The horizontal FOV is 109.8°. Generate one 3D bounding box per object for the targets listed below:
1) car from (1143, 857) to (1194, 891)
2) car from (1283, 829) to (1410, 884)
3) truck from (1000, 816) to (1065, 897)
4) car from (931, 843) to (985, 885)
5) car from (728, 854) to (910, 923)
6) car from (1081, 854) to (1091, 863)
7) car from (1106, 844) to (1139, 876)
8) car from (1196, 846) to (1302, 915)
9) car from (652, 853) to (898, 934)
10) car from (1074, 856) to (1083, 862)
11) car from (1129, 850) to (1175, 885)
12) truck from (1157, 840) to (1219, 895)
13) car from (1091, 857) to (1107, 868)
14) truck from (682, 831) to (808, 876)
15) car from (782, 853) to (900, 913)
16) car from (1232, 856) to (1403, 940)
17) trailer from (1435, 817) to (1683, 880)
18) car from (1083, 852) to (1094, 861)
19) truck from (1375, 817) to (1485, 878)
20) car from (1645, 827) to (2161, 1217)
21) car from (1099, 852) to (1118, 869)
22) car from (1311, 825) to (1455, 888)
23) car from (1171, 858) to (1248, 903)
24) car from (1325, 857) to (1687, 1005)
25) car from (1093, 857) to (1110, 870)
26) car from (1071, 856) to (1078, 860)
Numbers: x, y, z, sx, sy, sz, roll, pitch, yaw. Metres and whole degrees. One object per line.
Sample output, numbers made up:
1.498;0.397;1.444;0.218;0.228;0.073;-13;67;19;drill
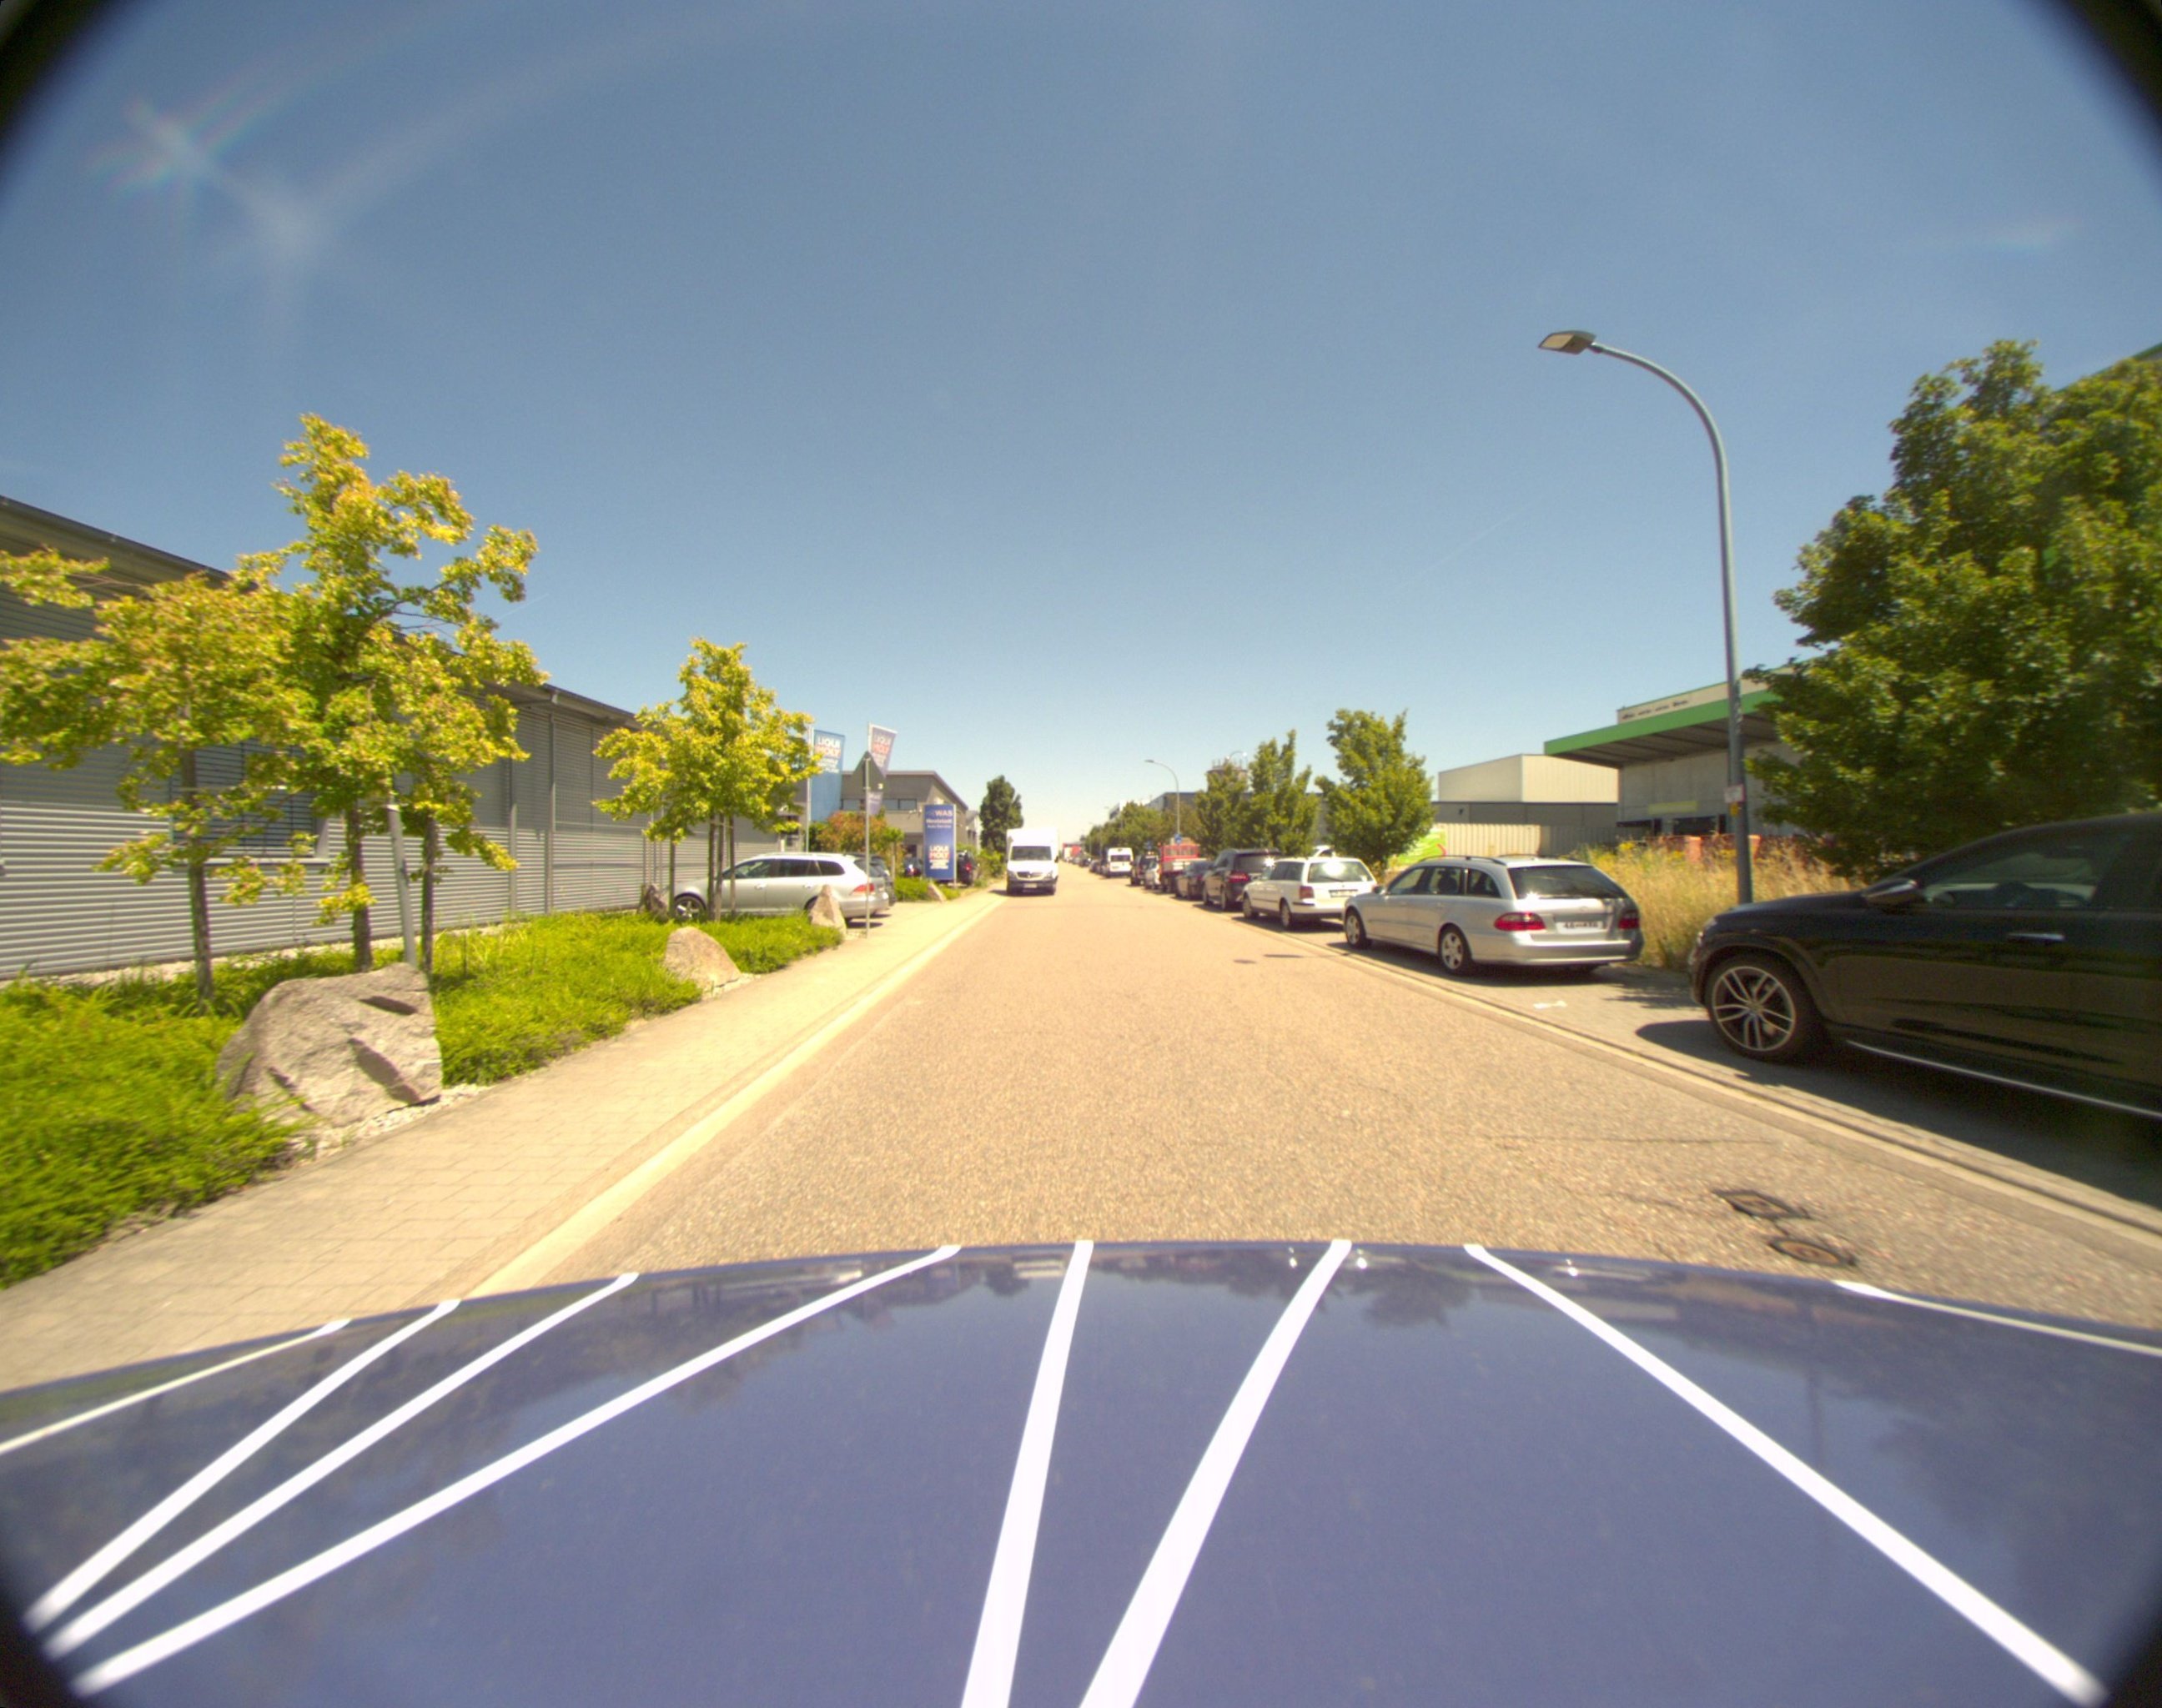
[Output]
4.302;0.944;37.811;1.857;1.542;3.765;-2;0;-4;car
14.269;0.106;41.139;5.990;2.808;2.520;-1;0;-3;car
-1.981;0.119;33.338;2.463;3.186;6.882;0;0;0;truck
-6.242;0.486;39.126;1.999;2.002;5.336;0;0;-1;car
-6.182;0.788;18.253;3.702;1.532;1.913;1;0;0;car
0.927;0.846;148.045;1.799;1.701;3.830;-2;0;-3;car
3.502;0.503;65.480;2.329;2.583;6.084;-2;0;-1;car
4.746;0.694;22.240;1.856;1.748;4.986;-2;0;-1;car
-6.112;0.771;15.639;4.292;1.532;1.912;1;0;-5;car
-0.617;1.266;177.857;1.799;1.319;3.830;-2;0;-3;car
4.040;0.745;44.246;1.979;1.889;5.401;-2;0;-2;car
4.628;0.558;33.634;1.856;2.209;4.645;-2;0;-3;truck
2.401;1.113;100.593;1.799;1.477;4.188;-2;0;-3;car
-18.525;-0.012;42.113;5.949;2.356;2.180;1;0;-1;truck
-6.439;0.759;20.529;2.713;1.532;1.412;1;0;0;car
4.896;0.825;16.585;1.857;1.510;4.903;-2;0;-5;car
33.197;-0.336;53.115;15.361;4.064;3.219;1;0;-1;trailer
1.377;0.397;137.341;1.799;1.638;3.830;1;0;-3;car
24.236;-0.447;52.976;6.121;4.064;3.219;1;0;-1;truck
5.693;0.712;3.731;1.997;1.703;5.006;-2;0;-2;car
2.943;0.686;82.184;1.836;1.800;4.082;-2;0;-1;car
14.568;0.126;36.967;5.990;2.908;2.520;-1;0;-3;car
4.595;0.906;27.892;1.856;1.435;4.752;-2;0;-2;car
5.358;0.824;10.643;1.857;1.510;5.165;-2;0;-5;car
2.512;1.139;94.727;1.799;1.477;4.450;-2;0;-3;car
-2.092;1.329;241.137;1.799;1.319;3.830;-2;0;-3;car
